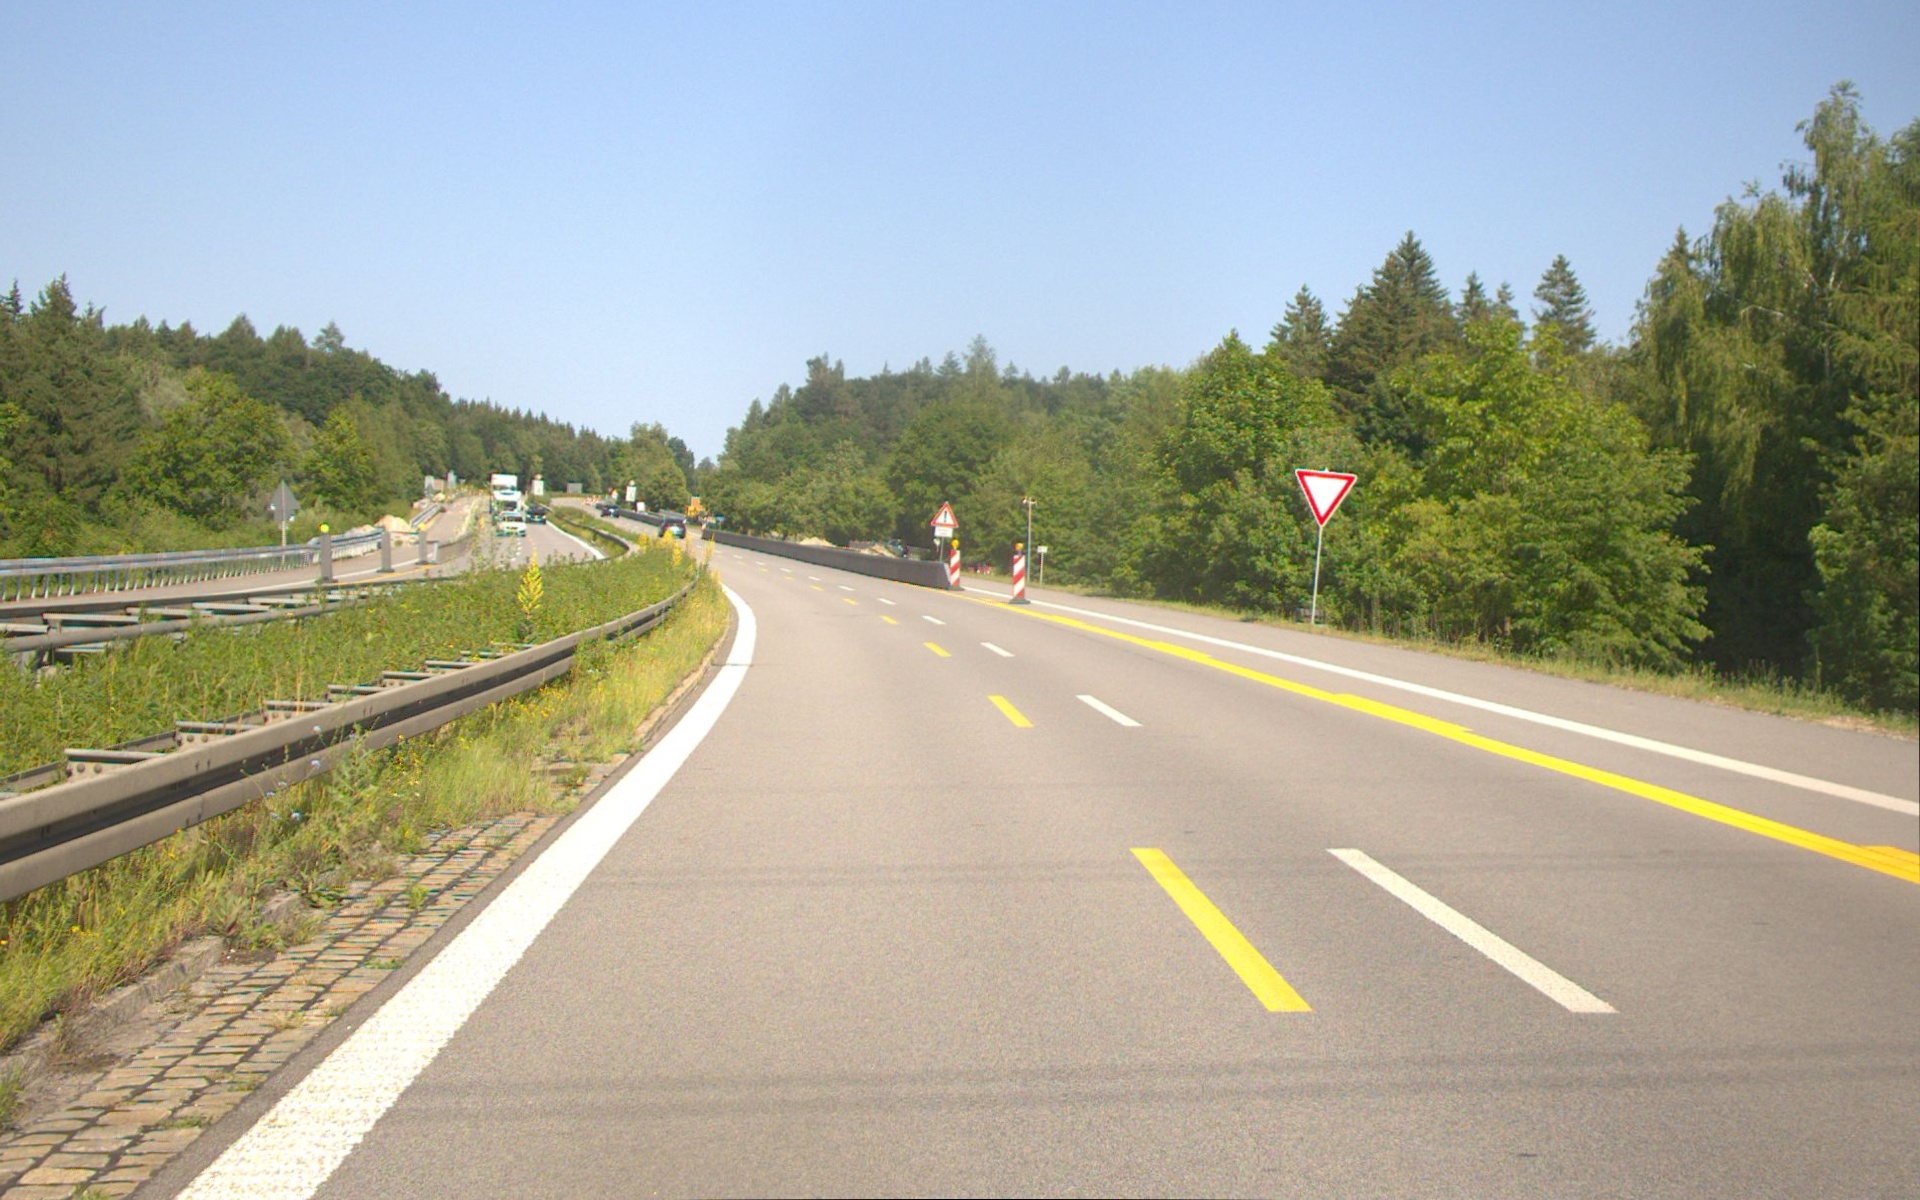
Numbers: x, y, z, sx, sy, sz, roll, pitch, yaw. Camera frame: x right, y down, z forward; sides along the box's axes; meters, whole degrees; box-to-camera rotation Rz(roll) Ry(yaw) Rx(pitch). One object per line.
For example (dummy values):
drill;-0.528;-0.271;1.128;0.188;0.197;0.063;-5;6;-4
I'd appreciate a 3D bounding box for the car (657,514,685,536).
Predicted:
car;-21.020;-5.485;249.952;1.743;1.461;4.295;3;2;-8
